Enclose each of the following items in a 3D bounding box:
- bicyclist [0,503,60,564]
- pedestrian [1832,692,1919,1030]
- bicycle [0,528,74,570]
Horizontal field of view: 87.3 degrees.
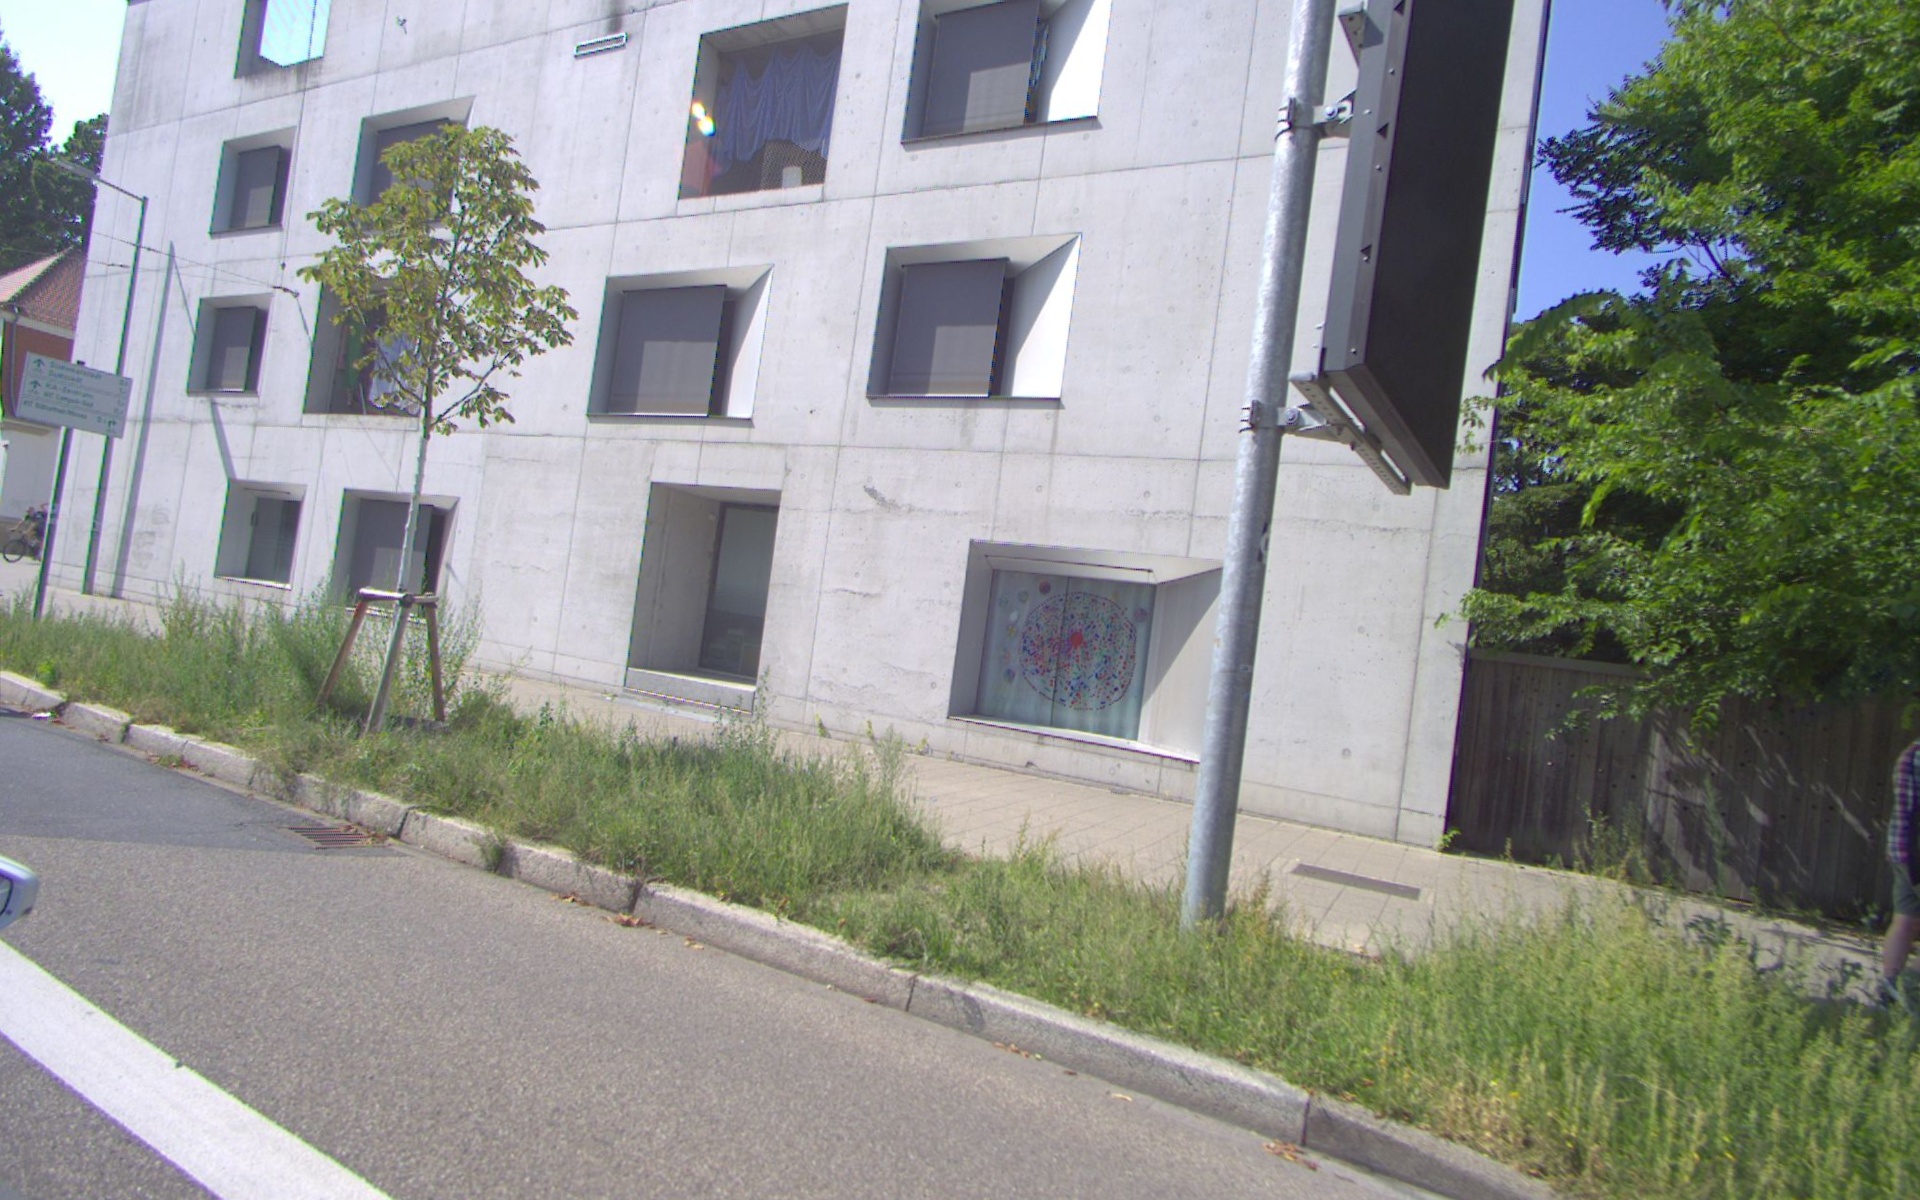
[{"bbox_3d":[-27.810,-1.973,30.096,0.616,1.616,0.994,7,-2,8],"label":"bicyclist"},{"bbox_3d":[5.359,1.423,5.531,0.569,1.752,0.693,7,-1,29],"label":"pedestrian"},{"bbox_3d":[-27.845,-1.527,30.241,0.604,1.011,1.714,7,-3,9],"label":"bicycle"}]
